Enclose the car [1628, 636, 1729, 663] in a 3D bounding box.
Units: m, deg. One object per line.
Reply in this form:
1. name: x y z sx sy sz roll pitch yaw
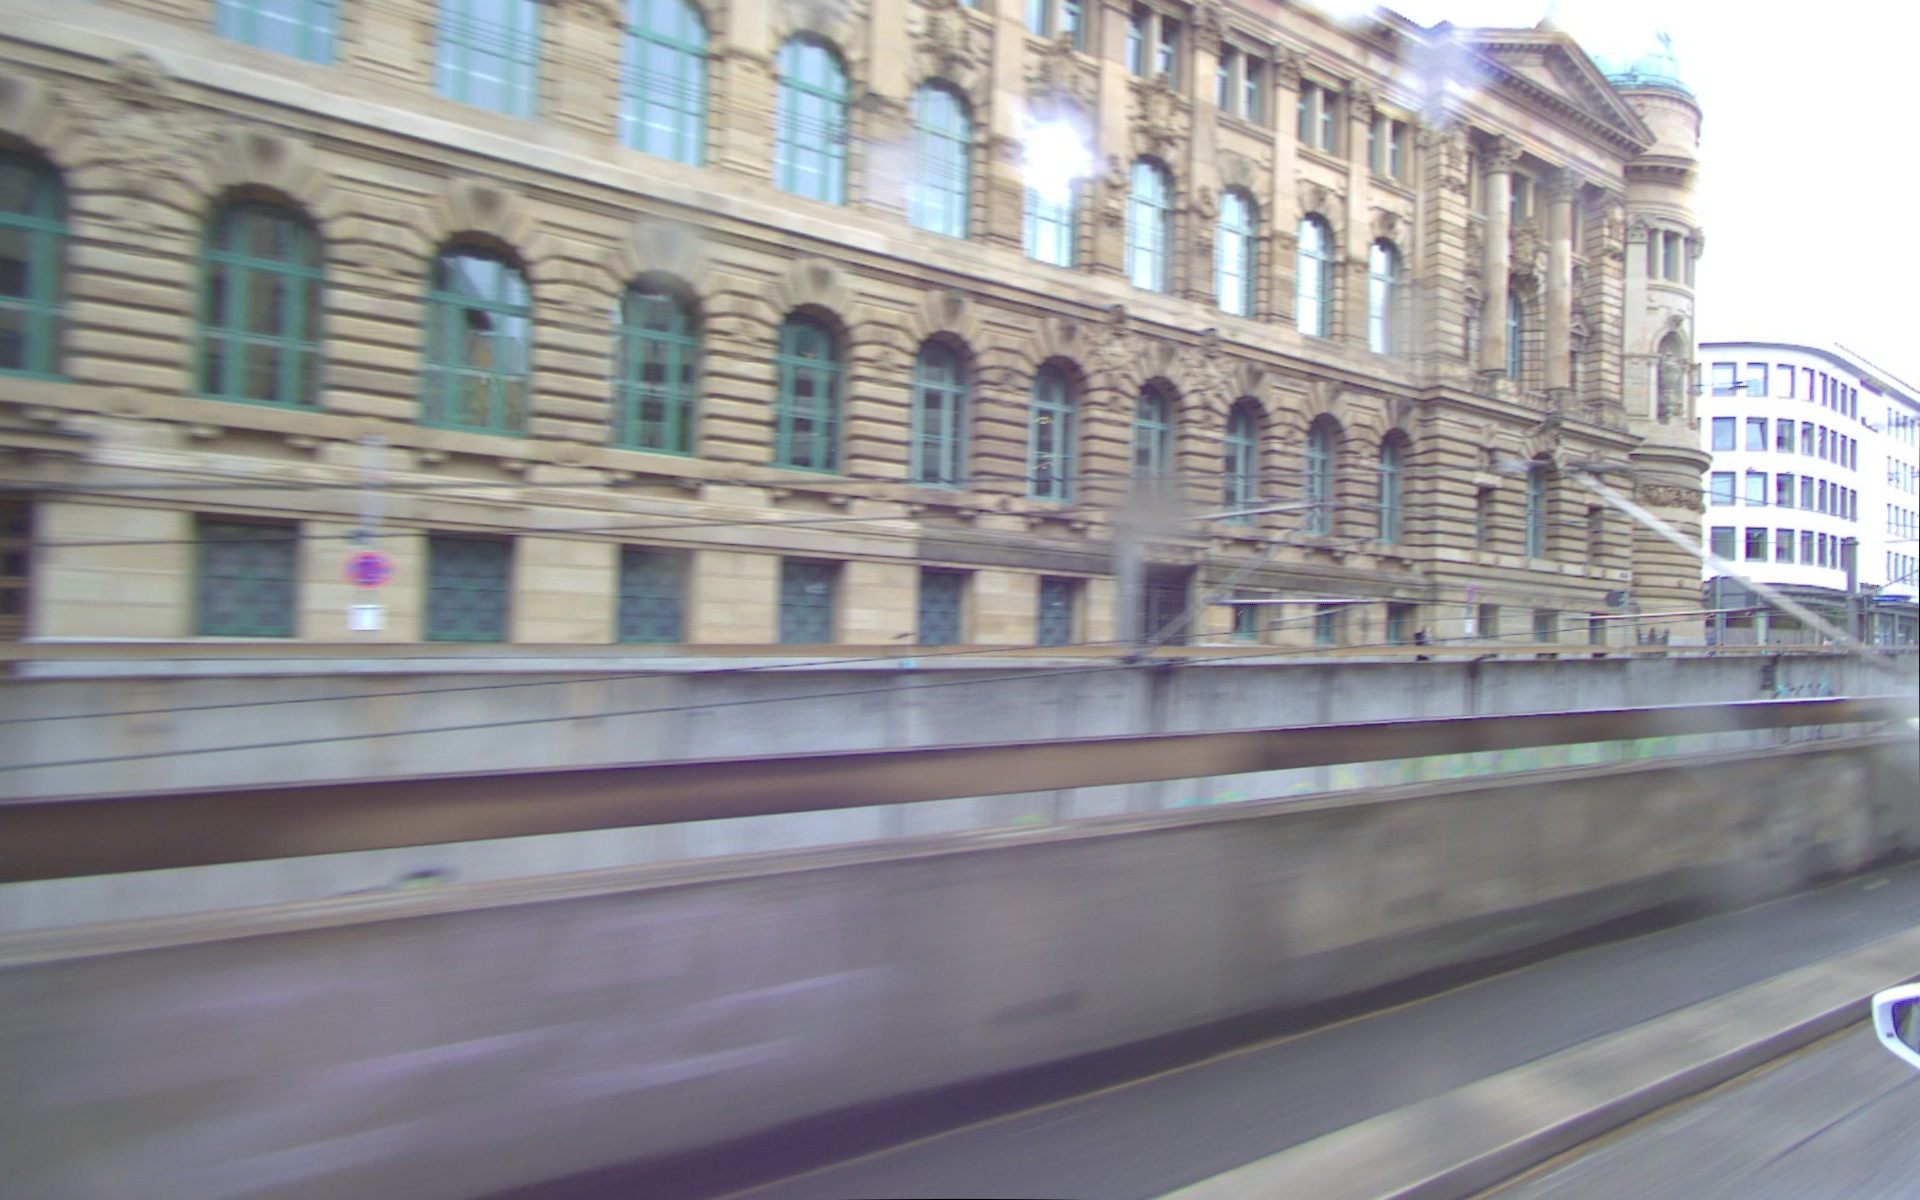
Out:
1. car: 43.922 3.046 61.544 4.686 1.541 1.676 -2 -4 19
